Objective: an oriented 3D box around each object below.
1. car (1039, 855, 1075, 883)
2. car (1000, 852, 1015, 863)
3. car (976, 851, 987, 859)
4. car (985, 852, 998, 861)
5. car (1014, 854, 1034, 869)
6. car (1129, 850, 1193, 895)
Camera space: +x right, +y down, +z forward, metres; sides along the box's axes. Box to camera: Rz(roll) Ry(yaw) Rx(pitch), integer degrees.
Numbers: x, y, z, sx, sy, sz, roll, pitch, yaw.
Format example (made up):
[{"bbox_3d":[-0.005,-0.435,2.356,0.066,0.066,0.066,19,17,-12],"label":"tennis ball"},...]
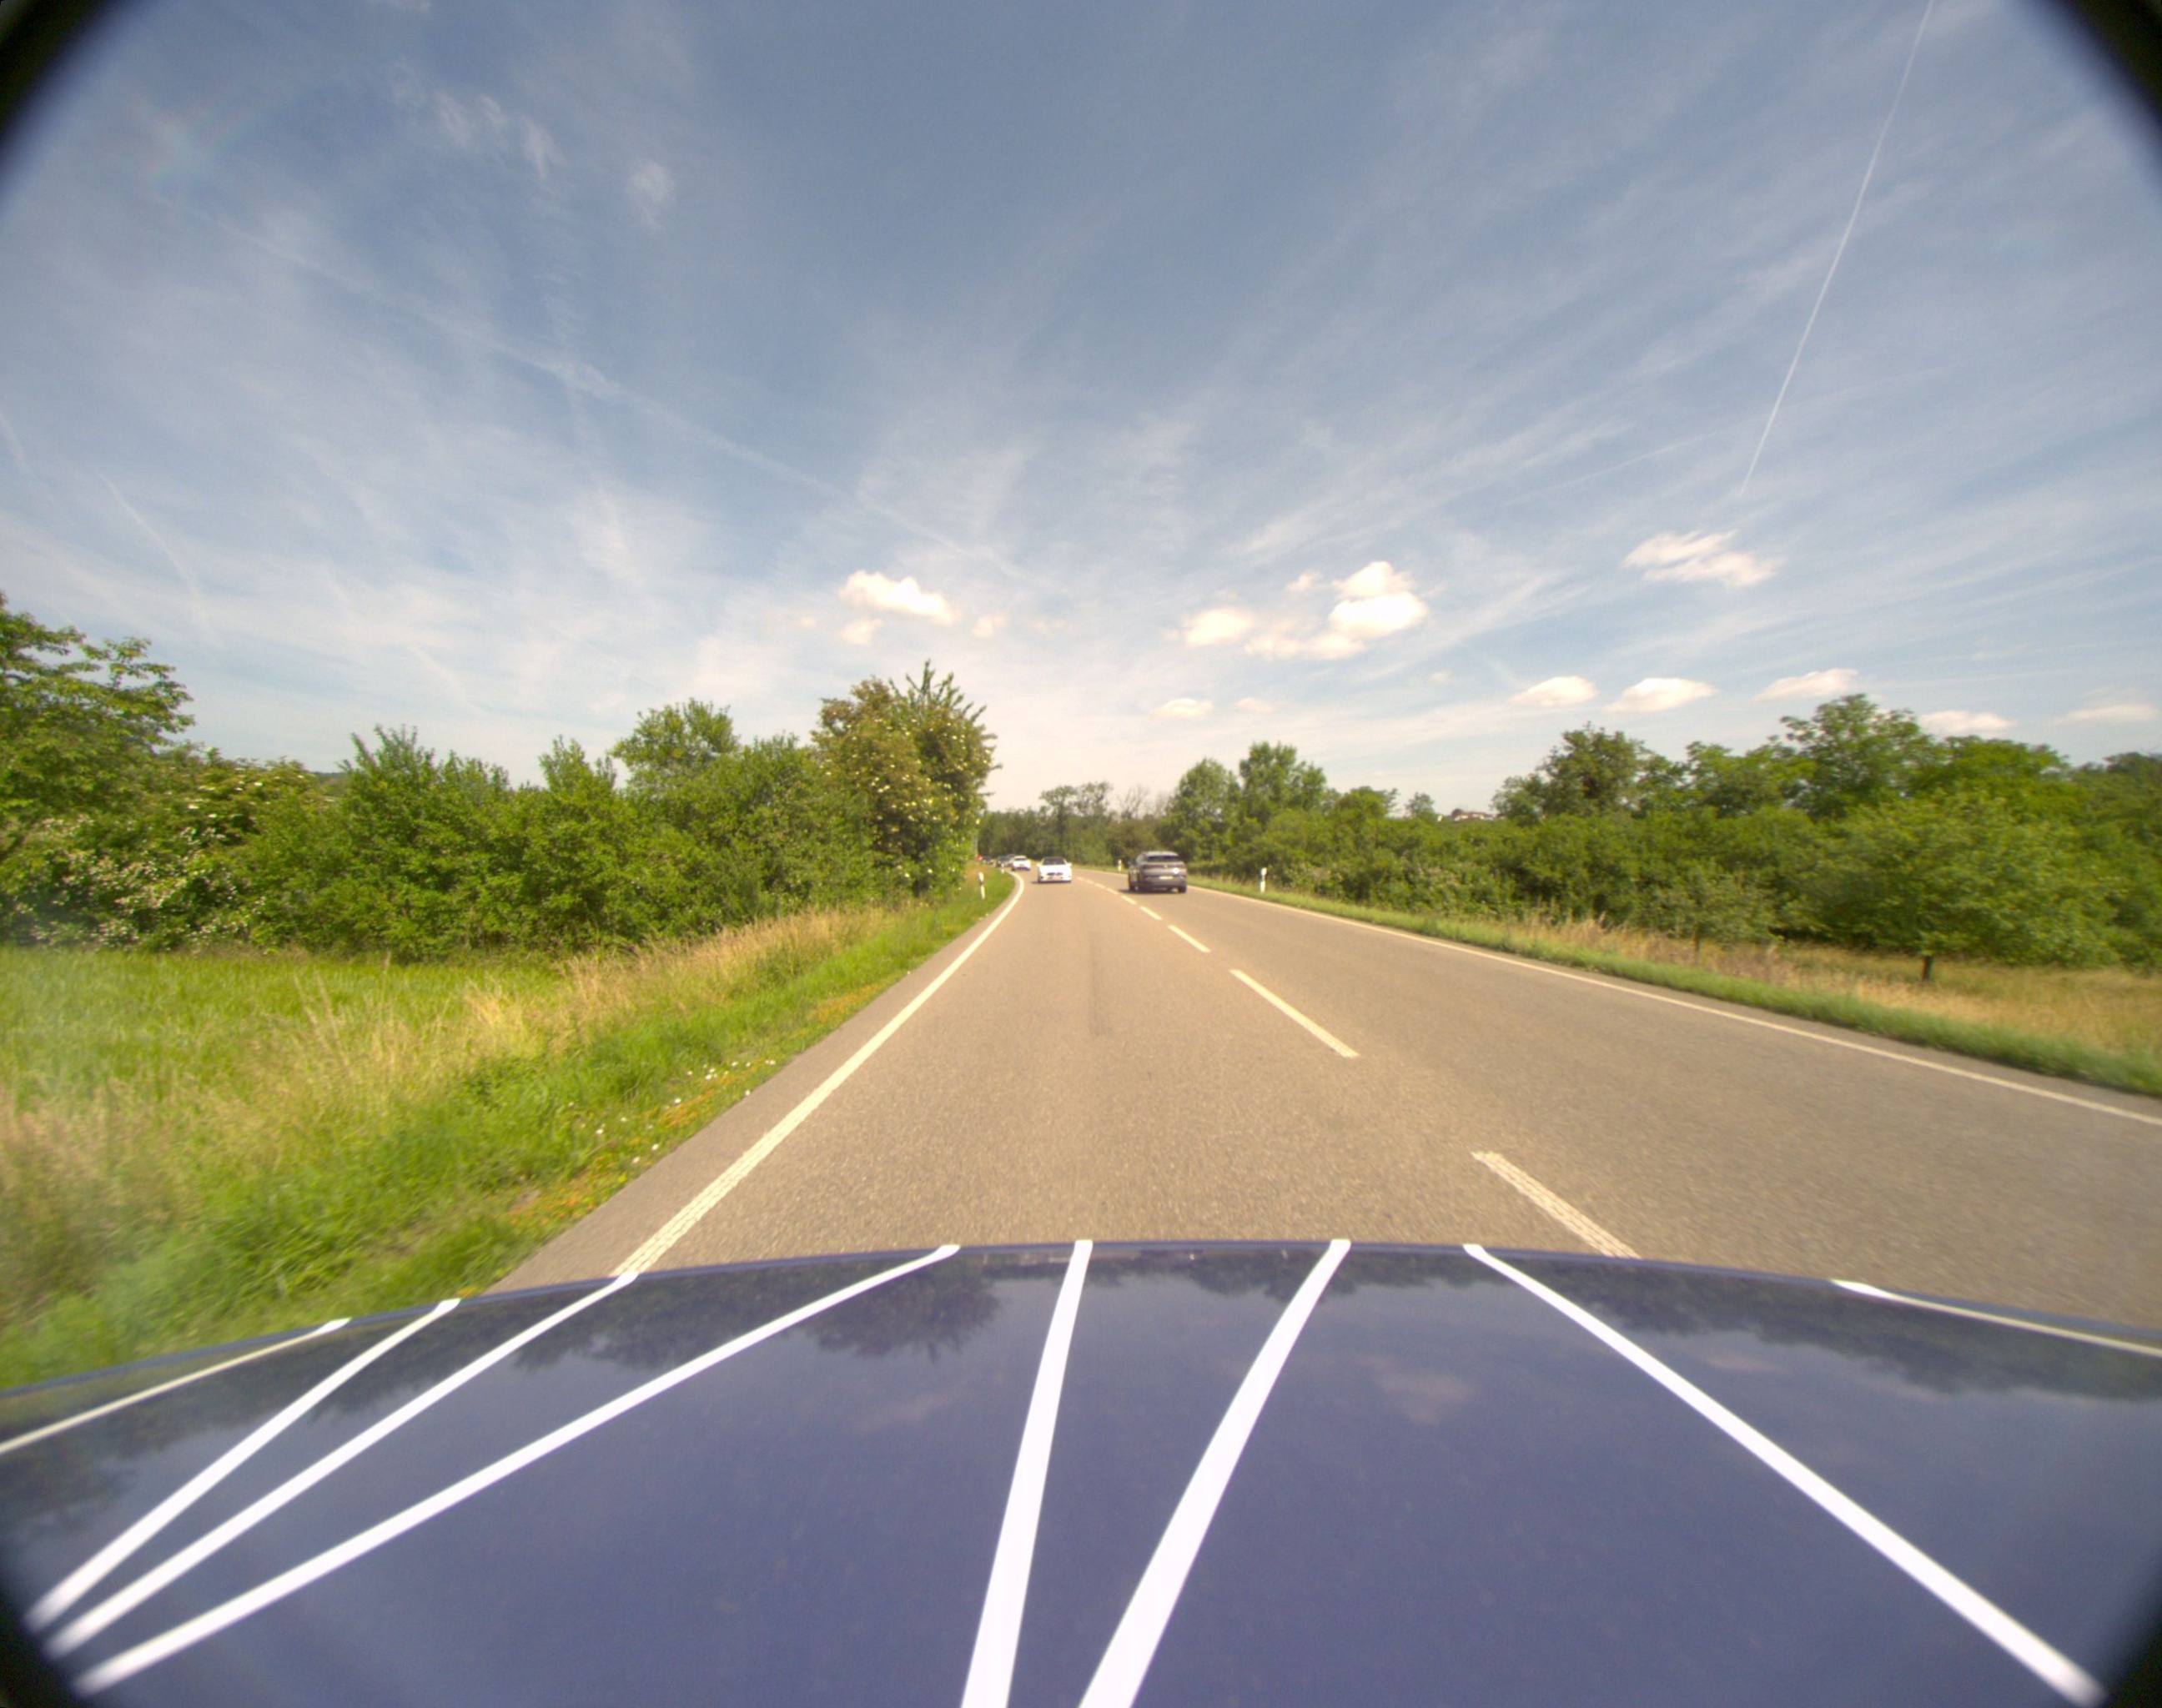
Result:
[{"bbox_3d":[-1.417,0.808,43.793,1.930,1.441,4.533,-2,0,-3],"label":"car"},{"bbox_3d":[-10.217,0.461,105.376,1.931,1.442,4.072,1,2,-8],"label":"car"},{"bbox_3d":[-21.133,0.210,161.133,1.931,1.441,3.996,1,0,-10],"label":"car"},{"bbox_3d":[-14.975,0.352,127.277,1.931,1.441,3.996,1,0,-10],"label":"car"},{"bbox_3d":[-5.940,0.792,79.295,1.930,1.441,3.998,-2,1,-5],"label":"car"},{"bbox_3d":[3.100,0.678,30.120,1.930,1.616,3.999,-1,0,-3],"label":"car"}]
